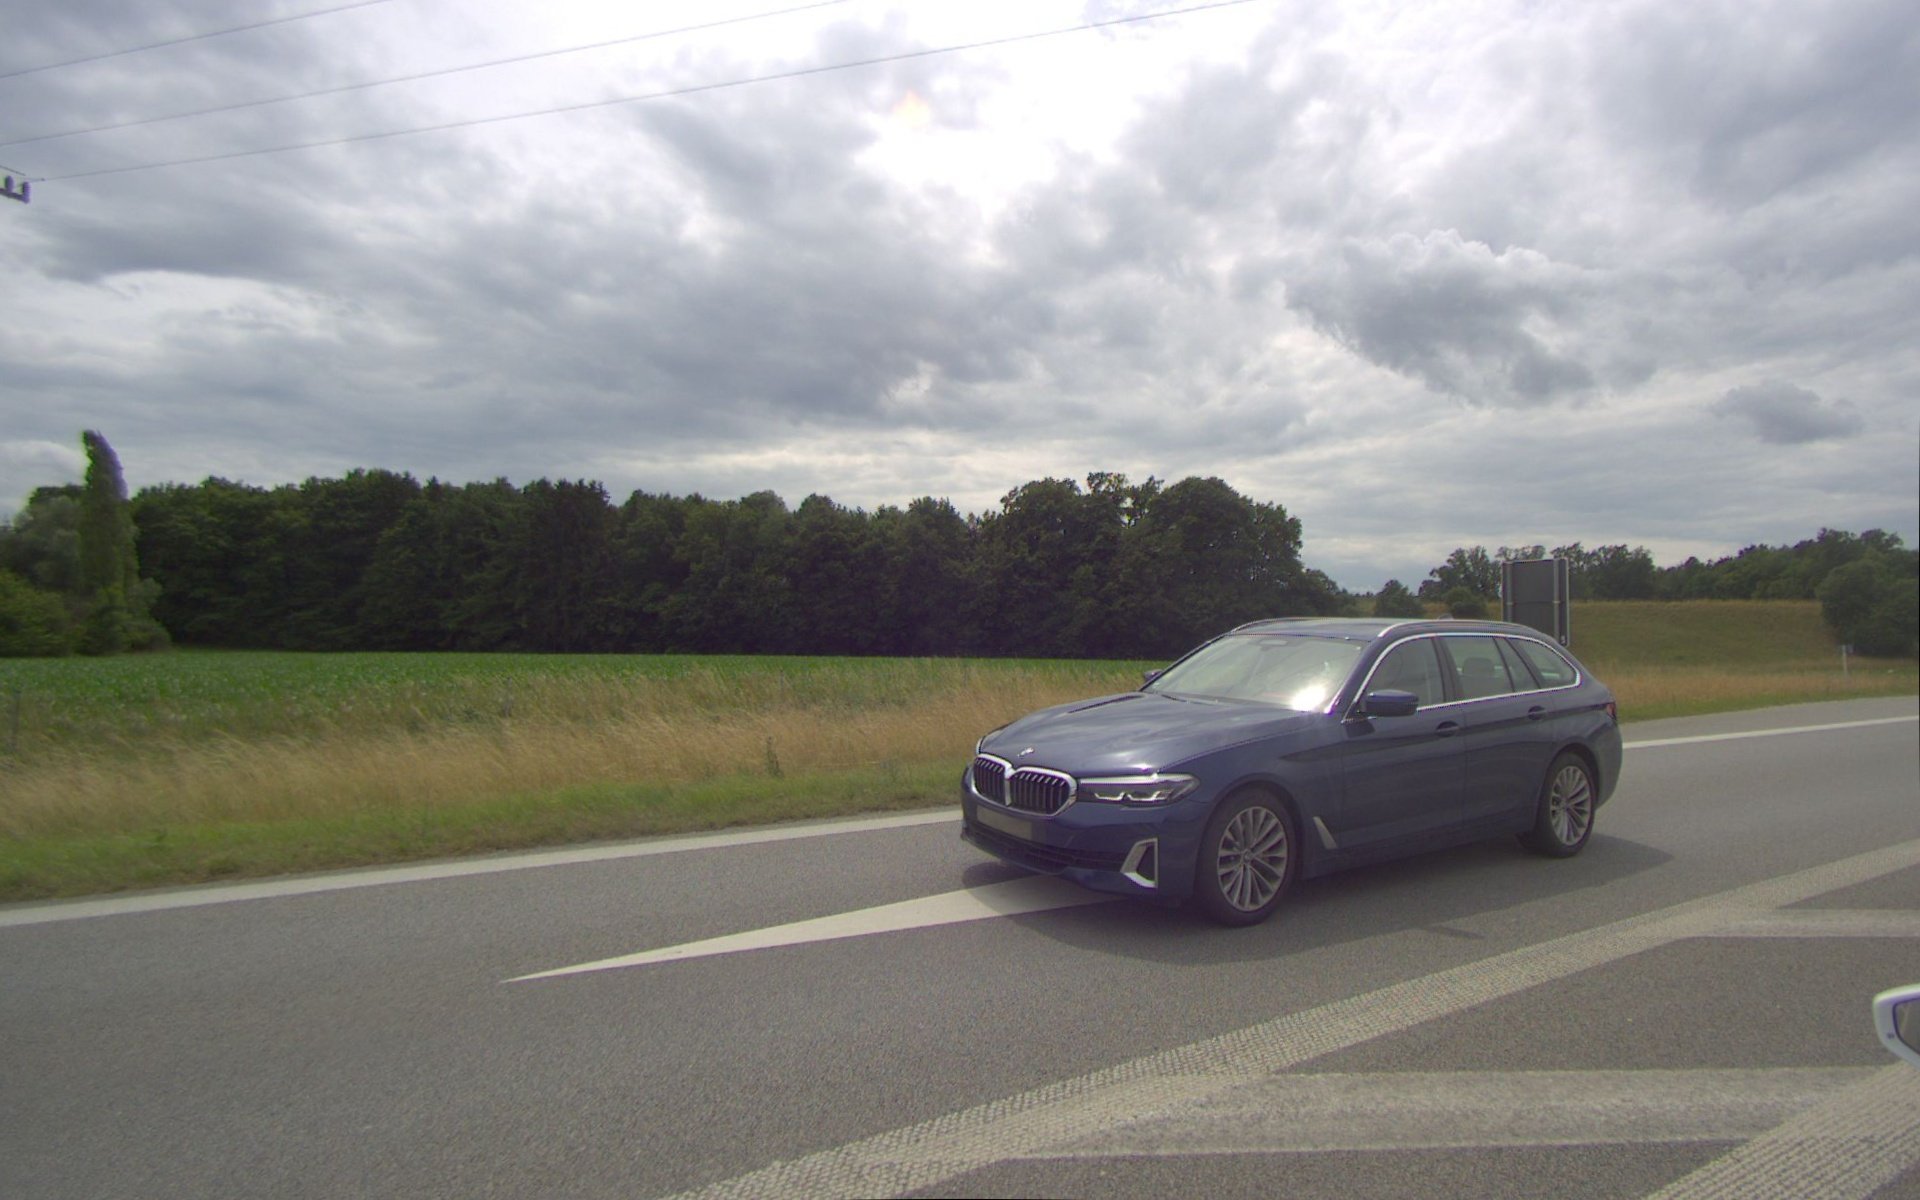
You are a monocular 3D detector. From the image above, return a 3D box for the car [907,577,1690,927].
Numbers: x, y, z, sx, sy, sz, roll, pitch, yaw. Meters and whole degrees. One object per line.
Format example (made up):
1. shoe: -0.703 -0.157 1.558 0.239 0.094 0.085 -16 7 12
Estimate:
1. car: 2.368 0.720 6.428 5.137 1.498 1.848 2 -1 -31
